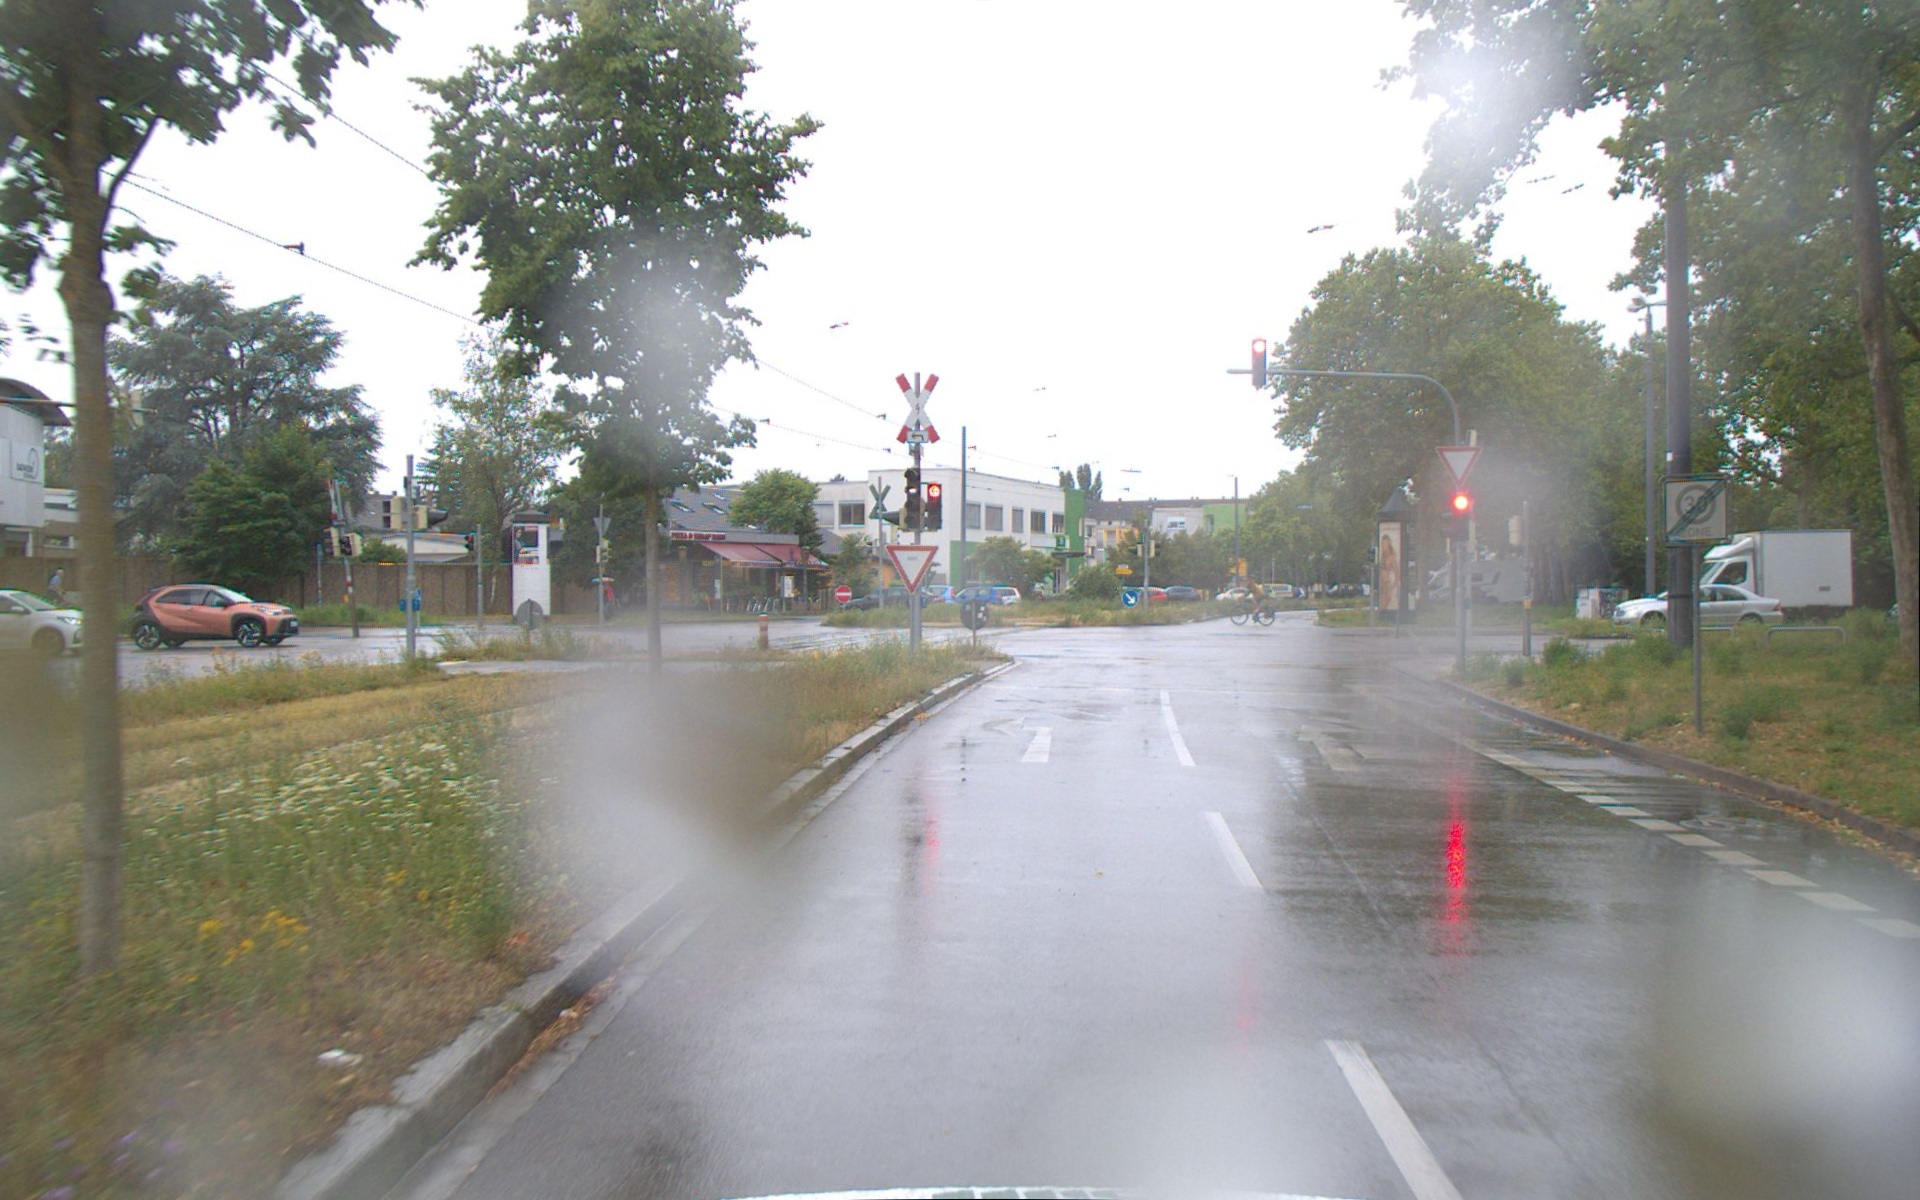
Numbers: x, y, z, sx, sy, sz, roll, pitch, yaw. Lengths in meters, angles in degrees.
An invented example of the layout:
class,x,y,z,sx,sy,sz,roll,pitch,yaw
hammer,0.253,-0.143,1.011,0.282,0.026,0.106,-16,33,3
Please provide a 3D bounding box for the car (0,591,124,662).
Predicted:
class,x,y,z,sx,sy,sz,roll,pitch,yaw
car,-21.093,0.585,36.931,3.986,1.525,1.650,-1,0,-5

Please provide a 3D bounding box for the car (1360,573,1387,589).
class,x,y,z,sx,sy,sz,roll,pitch,yaw
car,57.240,-2.627,228.932,3.373,2.049,1.808,-1,0,22

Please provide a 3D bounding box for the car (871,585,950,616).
class,x,y,z,sx,sy,sz,roll,pitch,yaw
car,-2.471,0.018,83.090,3.670,1.467,1.764,-1,0,8

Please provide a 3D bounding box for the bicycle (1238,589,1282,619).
class,x,y,z,sx,sy,sz,roll,pitch,yaw
bicycle,11.261,0.154,62.069,1.529,1.121,0.500,-1,0,0

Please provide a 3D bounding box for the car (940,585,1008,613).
class,x,y,z,sx,sy,sz,roll,pitch,yaw
car,0.746,-0.079,91.258,3.674,1.467,1.762,-1,0,-2

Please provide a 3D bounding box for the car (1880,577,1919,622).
class,x,y,z,sx,sy,sz,roll,pitch,yaw
car,32.109,-0.022,53.125,4.112,1.447,1.766,0,0,4

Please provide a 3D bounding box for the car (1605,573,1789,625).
class,x,y,z,sx,sy,sz,roll,pitch,yaw
car,20.616,-0.022,46.390,4.419,1.414,1.645,0,0,1

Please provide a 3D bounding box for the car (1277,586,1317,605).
class,x,y,z,sx,sy,sz,roll,pitch,yaw
car,35.075,-0.434,172.319,4.046,1.892,1.675,-1,0,11

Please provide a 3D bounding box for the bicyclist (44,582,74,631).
class,x,y,z,sx,sy,sz,roll,pitch,yaw
bicyclist,-32.108,0.223,58.936,0.670,1.712,0.642,-1,0,1

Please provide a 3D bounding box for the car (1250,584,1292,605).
class,x,y,z,sx,sy,sz,roll,pitch,yaw
car,30.752,-0.498,163.439,4.046,2.010,1.675,-1,0,11

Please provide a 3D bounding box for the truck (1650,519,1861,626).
class,x,y,z,sx,sy,sz,roll,pitch,yaw
truck,23.695,-0.795,49.398,5.355,3.112,1.981,0,0,1

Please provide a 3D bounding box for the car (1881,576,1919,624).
class,x,y,z,sx,sy,sz,roll,pitch,yaw
car,29.674,-0.006,48.858,4.025,1.414,1.645,0,0,1

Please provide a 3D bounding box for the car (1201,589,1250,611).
class,x,y,z,sx,sy,sz,roll,pitch,yaw
car,23.403,0.022,146.124,4.050,1.892,1.673,-1,0,0

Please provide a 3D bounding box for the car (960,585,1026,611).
class,x,y,z,sx,sy,sz,roll,pitch,yaw
car,1.869,-0.122,94.461,3.674,1.467,1.762,-1,0,-2

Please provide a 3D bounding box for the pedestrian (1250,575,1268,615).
class,x,y,z,sx,sy,sz,roll,pitch,yaw
pedestrian,11.222,-0.182,62.063,0.564,1.501,0.500,-1,0,0

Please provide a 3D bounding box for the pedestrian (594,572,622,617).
class,x,y,z,sx,sy,sz,roll,pitch,yaw
pedestrian,-14.169,-0.210,66.563,0.795,1.794,0.896,-1,0,-40

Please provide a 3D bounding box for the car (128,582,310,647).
class,x,y,z,sx,sy,sz,roll,pitch,yaw
car,-18.270,0.354,40.895,3.743,1.525,1.650,-1,0,-5

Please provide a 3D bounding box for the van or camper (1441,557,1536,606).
class,x,y,z,sx,sy,sz,roll,pitch,yaw
van or camper,31.362,-1.092,98.200,5.115,2.744,2.242,2,1,23
